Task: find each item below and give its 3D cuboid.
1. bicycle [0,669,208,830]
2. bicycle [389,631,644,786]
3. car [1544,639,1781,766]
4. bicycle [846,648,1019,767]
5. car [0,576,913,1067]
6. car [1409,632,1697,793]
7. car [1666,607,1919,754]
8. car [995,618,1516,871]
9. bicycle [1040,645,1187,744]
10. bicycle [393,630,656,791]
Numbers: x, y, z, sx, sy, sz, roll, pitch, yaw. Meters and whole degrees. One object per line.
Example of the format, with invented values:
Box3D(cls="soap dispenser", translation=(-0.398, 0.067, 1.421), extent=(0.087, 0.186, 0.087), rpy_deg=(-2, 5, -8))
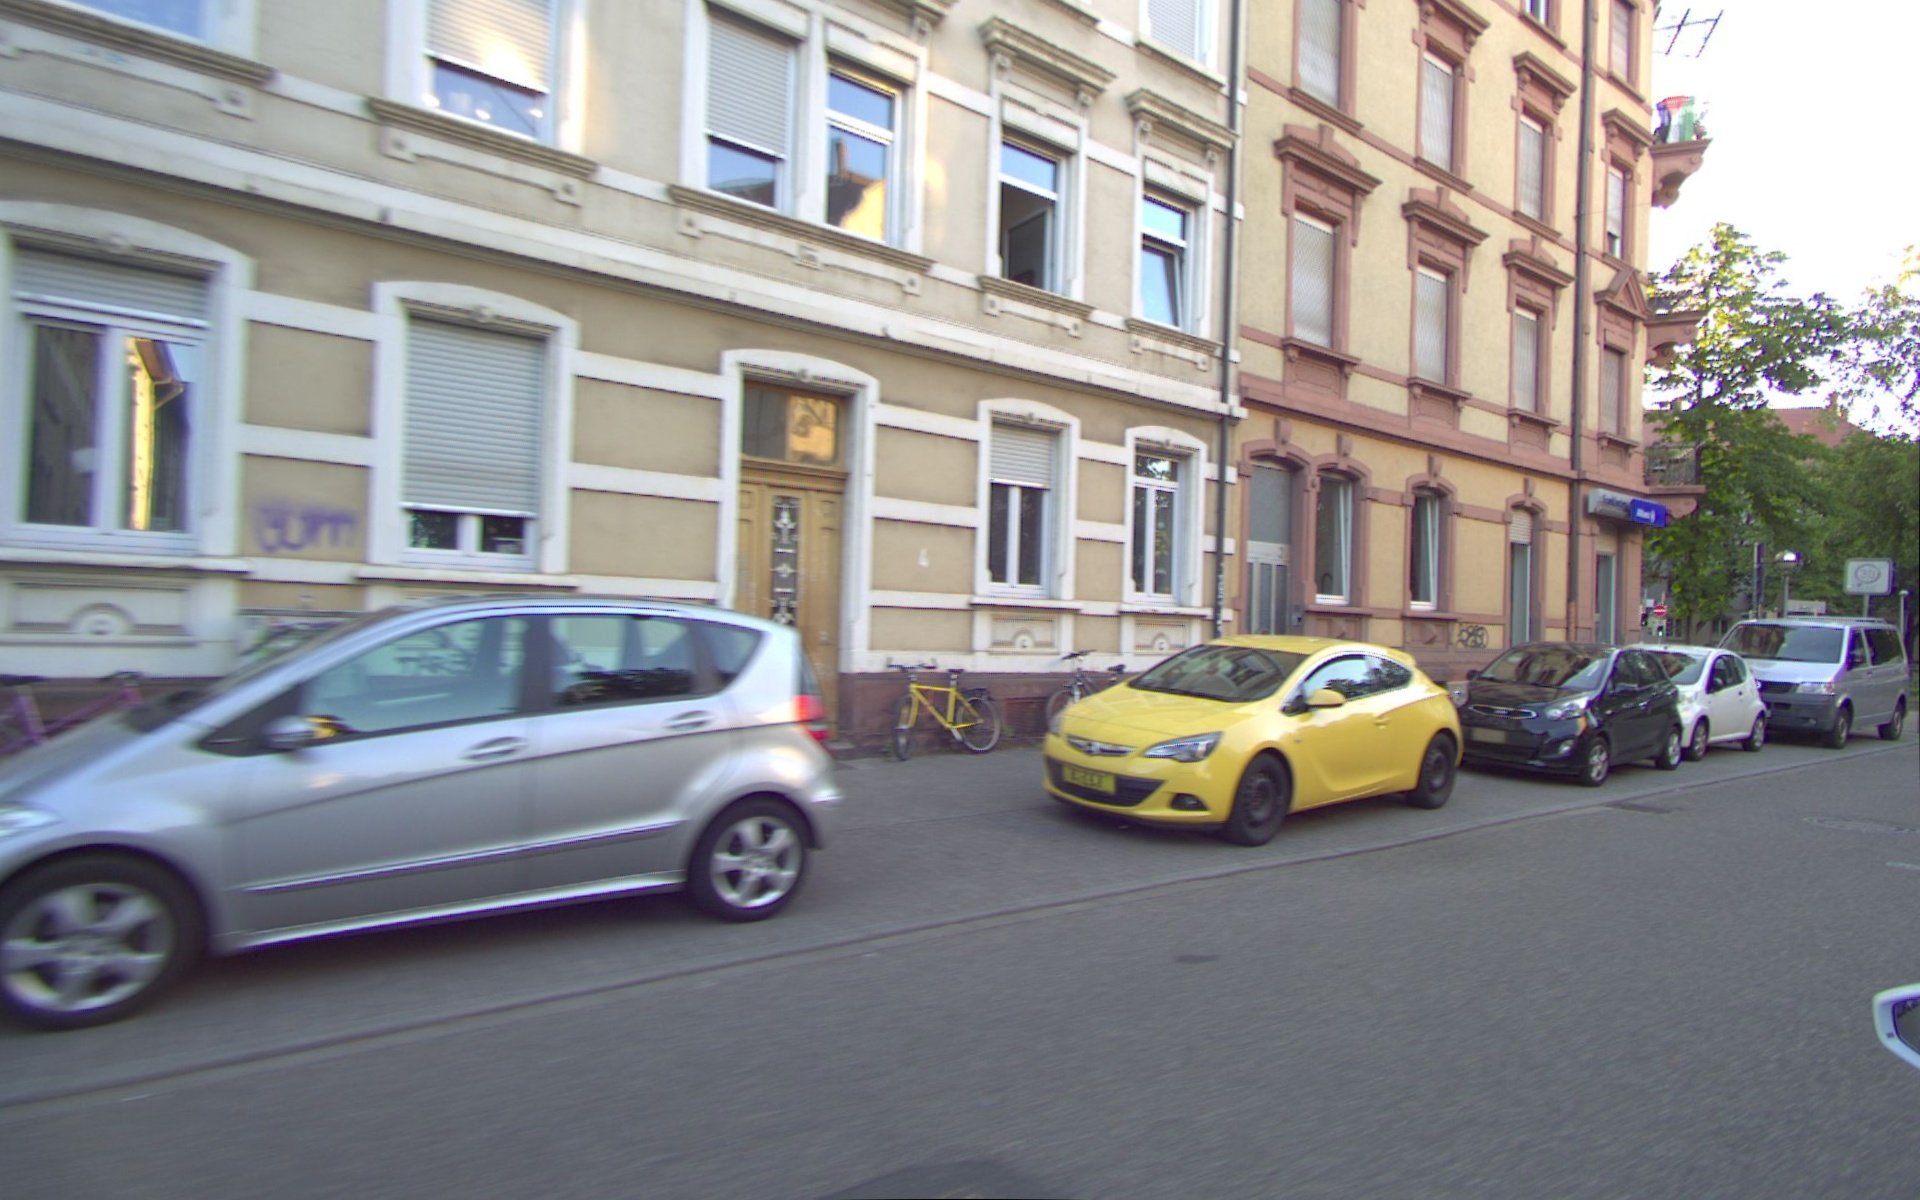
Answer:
Box3D(cls="bicycle", translation=(-5.867, 0.957, 6.600), extent=(1.452, 0.989, 0.397), rpy_deg=(2, -4, -38))
Box3D(cls="bicycle", translation=(-3.600, 0.847, 8.248), extent=(1.844, 1.155, 0.476), rpy_deg=(2, -1, -34))
Box3D(cls="car", translation=(10.103, 1.379, 14.381), extent=(3.579, 1.511, 1.672), rpy_deg=(3, 0, -36))
Box3D(cls="bicycle", translation=(-0.263, 1.095, 10.622), extent=(1.844, 1.155, 0.476), rpy_deg=(2, -1, -34))
Box3D(cls="car", translation=(-2.464, 0.786, 4.939), extent=(4.102, 1.614, 1.789), rpy_deg=(2, 1, -34))
Box3D(cls="car", translation=(7.062, 1.207, 11.833), extent=(3.711, 1.511, 1.715), rpy_deg=(3, 0, -39))
Box3D(cls="car", translation=(14.115, 1.266, 16.919), extent=(4.955, 2.084, 2.027), rpy_deg=(3, 0, -35))
Box3D(cls="car", translation=(2.731, 1.015, 8.648), extent=(4.758, 1.546, 1.825), rpy_deg=(2, 1, -38))
Box3D(cls="bicycle", translation=(1.863, 1.098, 12.024), extent=(1.818, 1.084, 0.657), rpy_deg=(2, -2, -38))
Box3D(cls="bicycle", translation=(-3.411, 0.831, 7.967), extent=(1.844, 1.155, 0.476), rpy_deg=(2, -1, -34))
